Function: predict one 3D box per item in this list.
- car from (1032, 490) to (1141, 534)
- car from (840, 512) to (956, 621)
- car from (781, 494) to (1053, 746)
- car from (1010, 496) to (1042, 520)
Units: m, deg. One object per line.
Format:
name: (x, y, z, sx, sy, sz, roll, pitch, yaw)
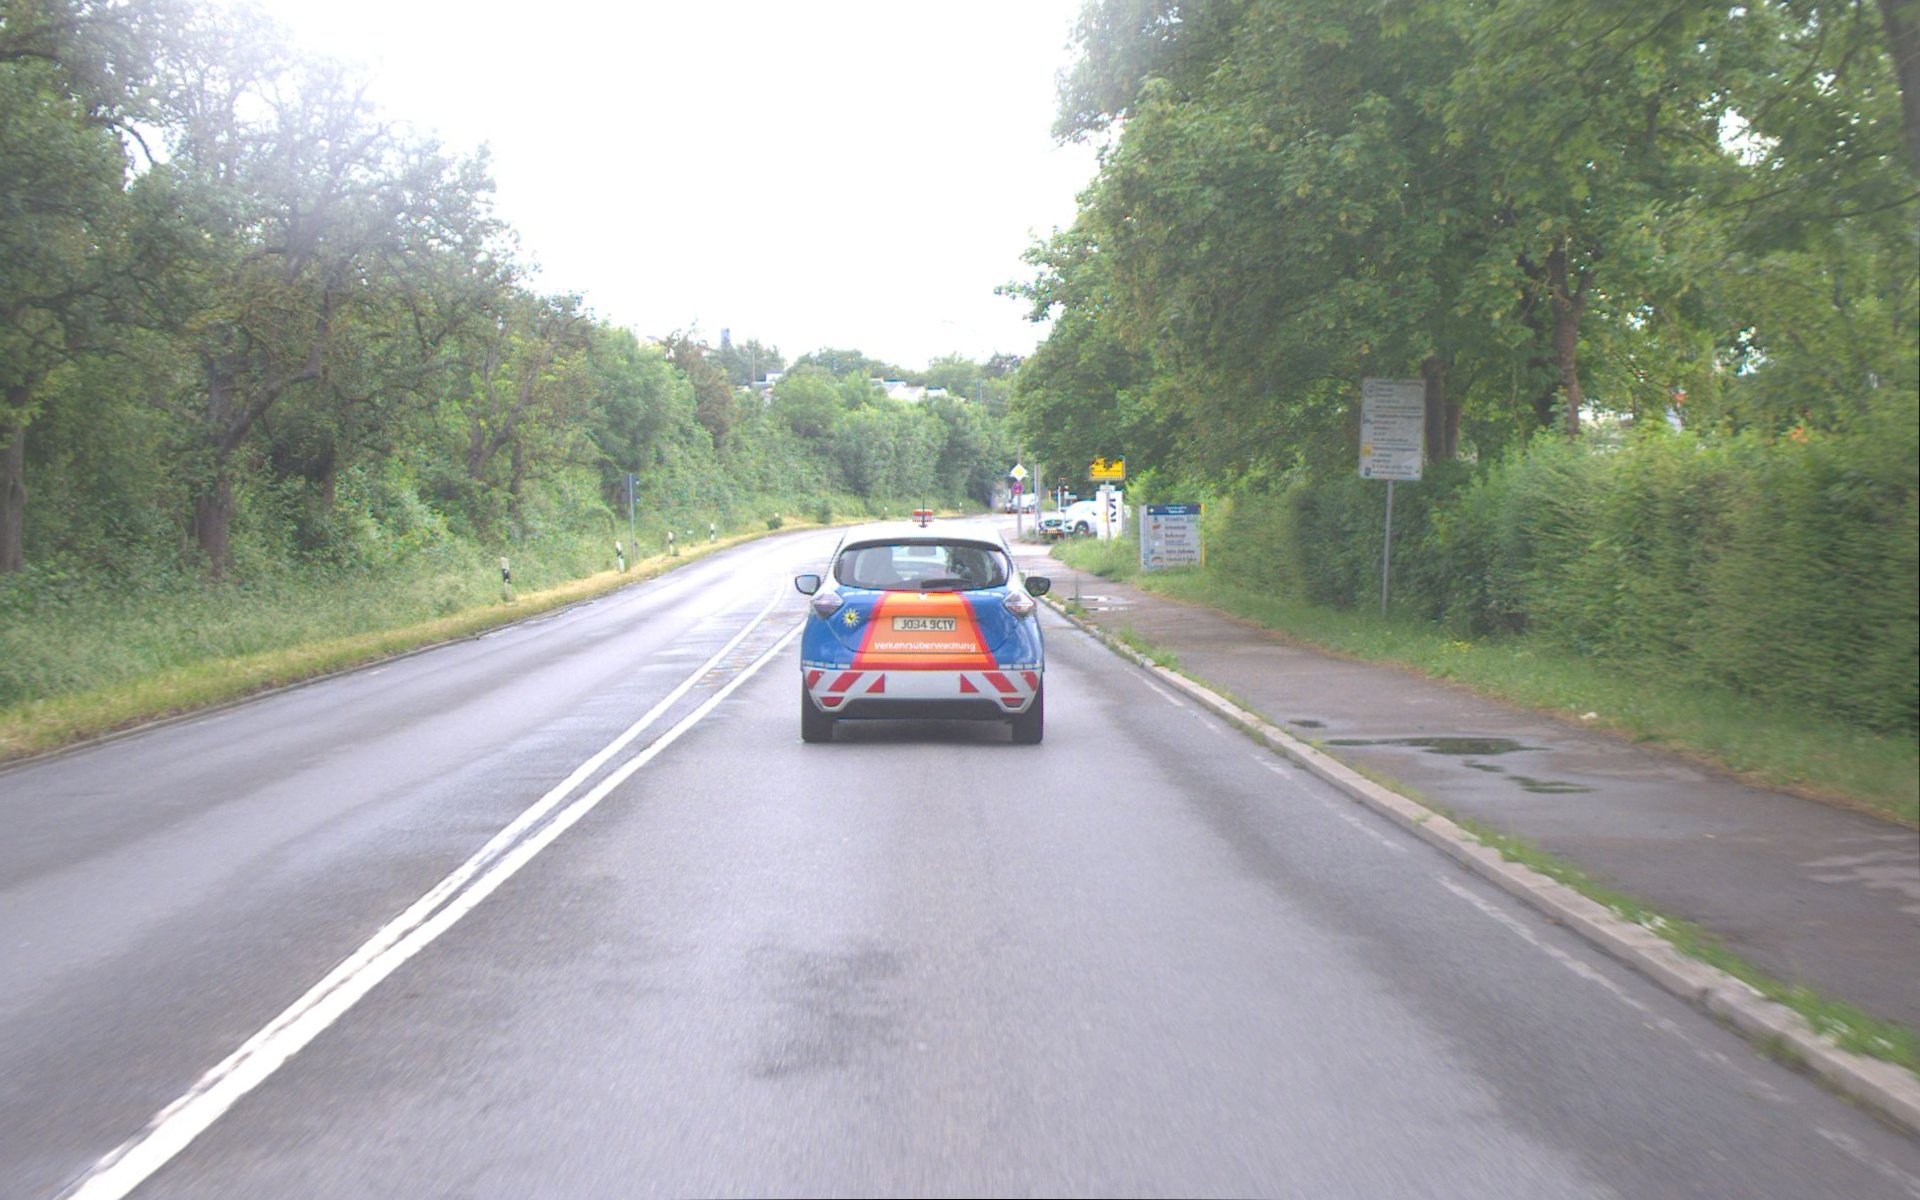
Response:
car: (5.431, -3.741, 146.871, 2.034, 1.745, 4.606, 2, 1, 45)
car: (-1.003, -0.535, 53.741, 1.694, 1.590, 3.856, 2, 1, -2)
car: (-0.325, 0.105, 25.322, 1.806, 1.662, 3.856, 2, 1, -1)
car: (4.987, -6.969, 260.659, 1.695, 1.784, 3.854, 2, 1, 12)
